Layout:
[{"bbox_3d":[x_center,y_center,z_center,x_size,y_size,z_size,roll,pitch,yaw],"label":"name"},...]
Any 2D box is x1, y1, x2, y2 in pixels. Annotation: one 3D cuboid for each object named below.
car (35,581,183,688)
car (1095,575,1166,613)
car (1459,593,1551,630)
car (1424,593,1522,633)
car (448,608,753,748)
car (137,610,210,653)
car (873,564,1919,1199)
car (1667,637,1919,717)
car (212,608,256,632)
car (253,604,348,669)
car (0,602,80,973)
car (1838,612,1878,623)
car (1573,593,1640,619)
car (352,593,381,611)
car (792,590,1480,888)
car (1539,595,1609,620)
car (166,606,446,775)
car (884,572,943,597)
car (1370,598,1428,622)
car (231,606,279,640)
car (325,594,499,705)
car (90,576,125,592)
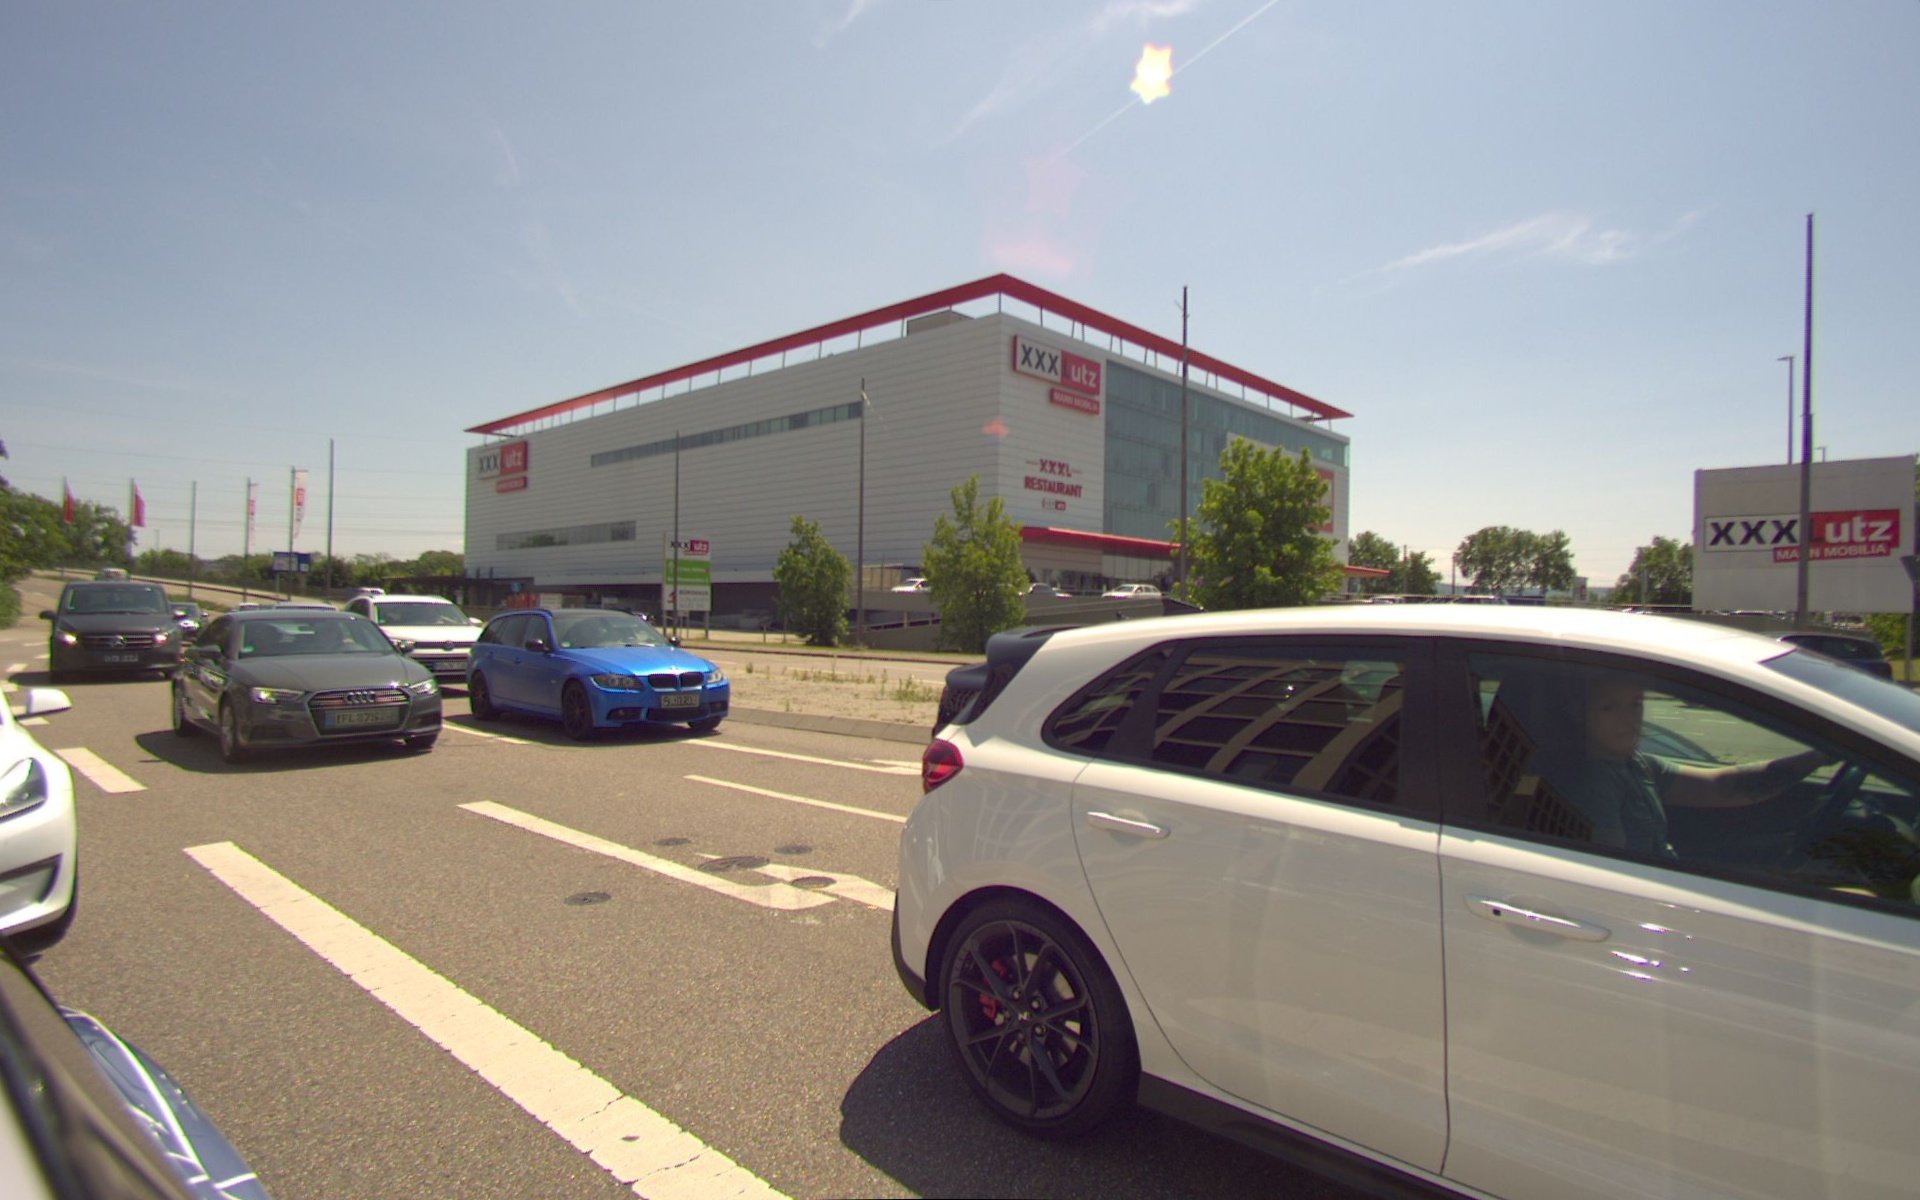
[{"bbox_3d":[-16.666,0.591,19.723,1.869,1.835,4.840,0,0,-44],"label":"car"},{"bbox_3d":[9.769,-0.281,57.746,4.407,2.029,1.680,2,-2,-44],"label":"car"},{"bbox_3d":[30.914,0.655,57.421,4.323,2.029,1.975,0,-1,38],"label":"car"},{"bbox_3d":[27.001,0.655,53.298,4.324,2.029,1.974,0,-1,38],"label":"car"},{"bbox_3d":[-4.542,0.833,12.395,4.432,1.413,1.745,-1,-2,44],"label":"car"},{"bbox_3d":[-28.513,1.116,36.801,1.582,1.450,3.744,2,-1,-30],"label":"car"},{"bbox_3d":[1.840,0.668,2.354,4.069,1.447,1.769,0,0,41],"label":"car"},{"bbox_3d":[16.063,1.451,19.667,3.399,1.374,1.616,0,-1,10],"label":"car"},{"bbox_3d":[-45.909,1.237,63.990,1.701,1.483,4.003,2,-2,-44],"label":"car"},{"bbox_3d":[-15.998,0.830,24.458,1.741,1.433,3.908,0,0,-36],"label":"car"},{"bbox_3d":[-5.793,0.741,4.872,4.282,1.447,1.800,0,0,41],"label":"car"},{"bbox_3d":[127.870,2.448,144.168,3.997,1.433,1.679,1,-1,33],"label":"car"},{"bbox_3d":[52.757,0.481,82.631,4.329,2.029,1.972,0,-1,42],"label":"car"},{"bbox_3d":[-79.464,0.298,135.538,4.815,2.300,2.162,0,-2,44],"label":"car"},{"bbox_3d":[0.901,0.709,6.936,4.466,1.415,1.653,-1,-2,42],"label":"car"},{"bbox_3d":[44.805,0.539,73.859,4.134,1.754,1.759,0,-1,42],"label":"car"},{"bbox_3d":[-6.900,0.769,10.480,1.744,1.393,4.094,1,-1,-43],"label":"car"},{"bbox_3d":[-3.142,-1.027,69.282,1.718,1.519,3.942,0,-2,44],"label":"car"},{"bbox_3d":[35.851,0.828,82.705,4.000,1.915,1.972,0,-1,43],"label":"car"},{"bbox_3d":[-33.305,1.080,47.883,1.698,1.564,4.011,2,-1,-33],"label":"car"},{"bbox_3d":[-9.546,0.749,17.445,1.743,1.653,4.498,0,0,-40],"label":"car"},{"bbox_3d":[-93.929,-1.753,111.502,4.031,1.736,1.847,0,-1,33],"label":"car"}]
